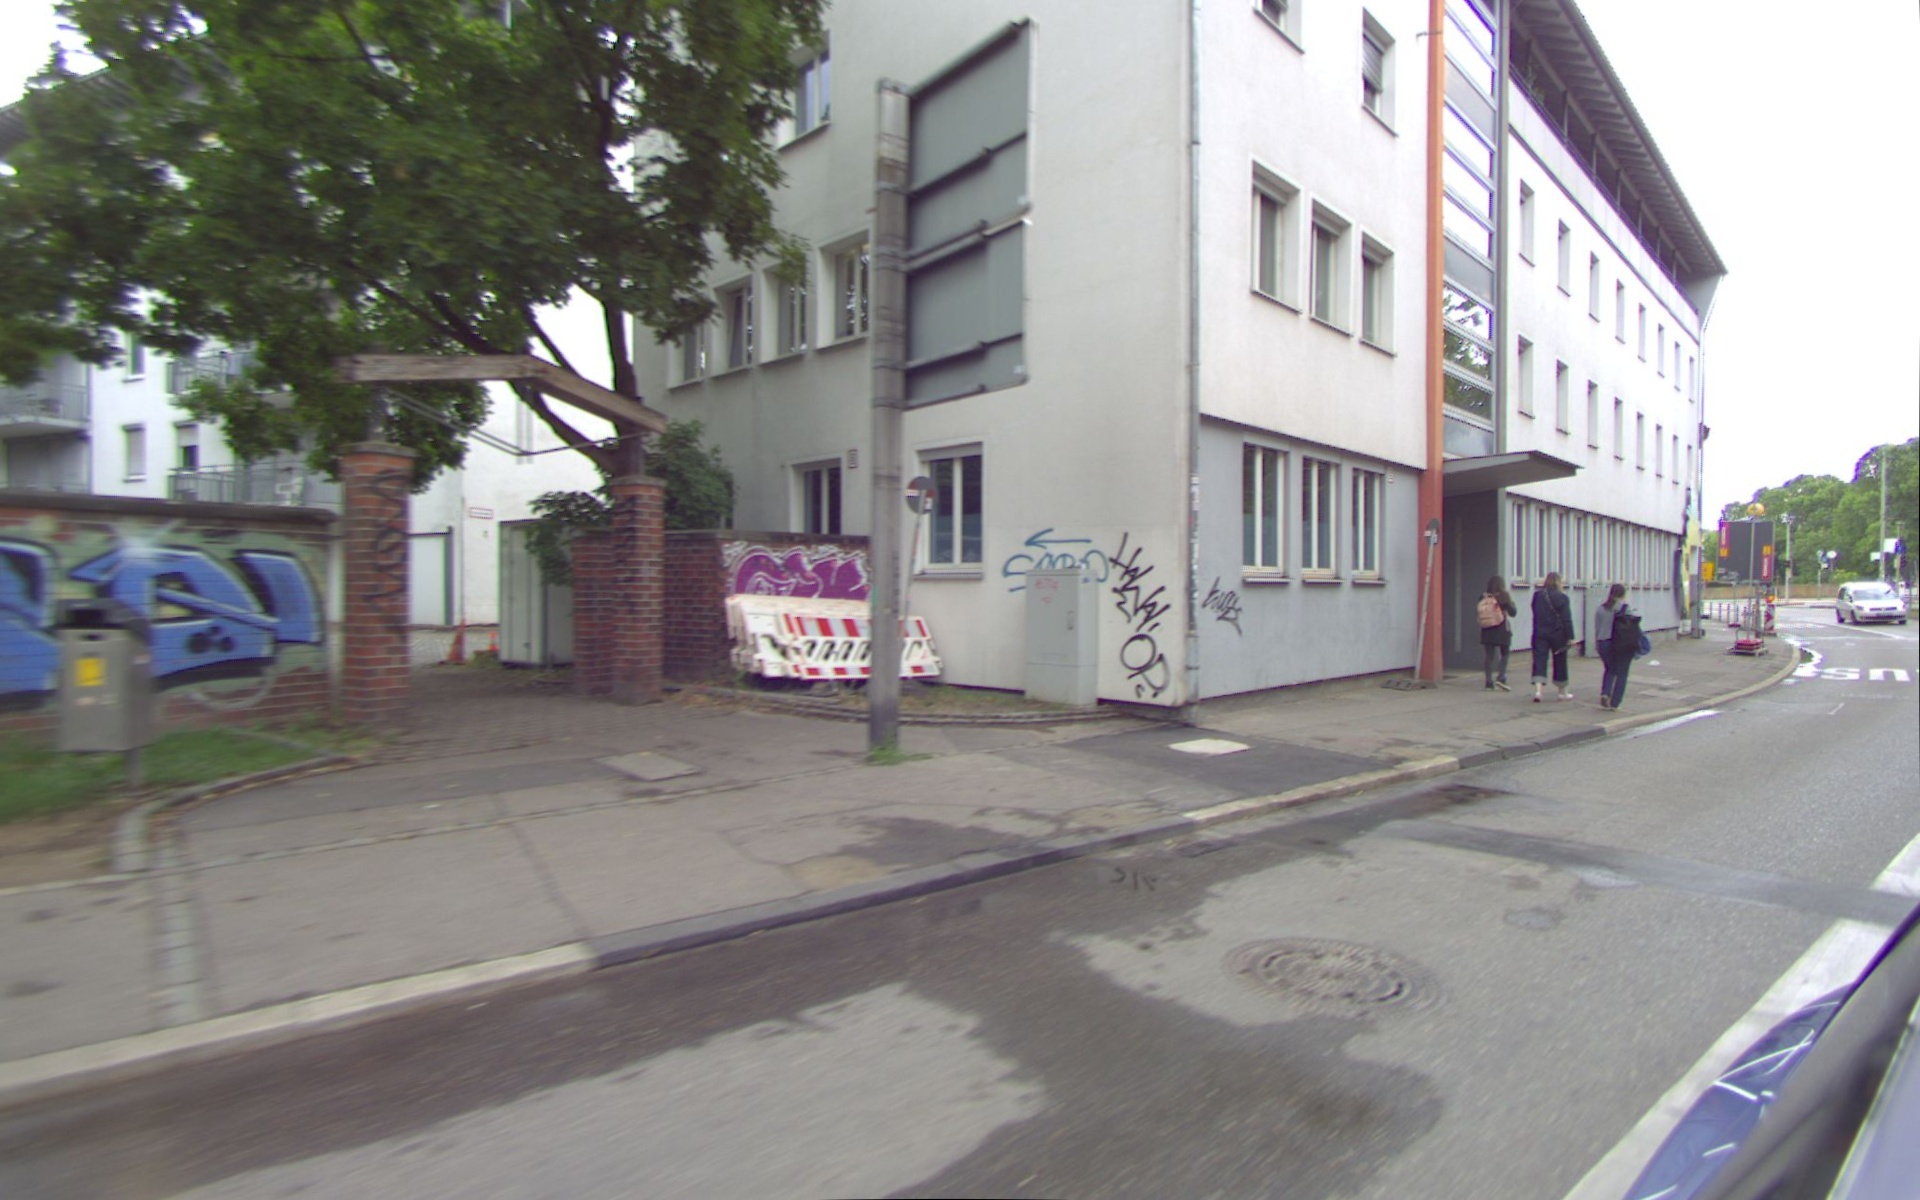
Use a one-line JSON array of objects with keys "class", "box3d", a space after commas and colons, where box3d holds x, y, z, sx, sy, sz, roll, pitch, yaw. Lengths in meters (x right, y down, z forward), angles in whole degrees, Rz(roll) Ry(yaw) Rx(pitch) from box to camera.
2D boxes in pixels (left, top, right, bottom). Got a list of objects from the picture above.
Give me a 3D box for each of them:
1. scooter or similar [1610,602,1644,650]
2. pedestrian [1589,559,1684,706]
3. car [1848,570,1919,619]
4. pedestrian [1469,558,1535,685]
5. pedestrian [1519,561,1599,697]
[{"class": "scooter or similar", "box3d": [16.362, 0.619, 24.829, 0.428, 1.111, 1.416, 2, 2, 43]}, {"class": "pedestrian", "box3d": [8.820, 0.398, 13.193, 0.803, 1.816, 0.927, 3, 1, 44]}, {"class": "car", "box3d": [40.711, -0.259, 44.476, 2.061, 1.807, 4.402, -3, 2, 37]}, {"class": "pedestrian", "box3d": [7.828, 0.298, 14.626, 0.596, 1.779, 0.544, 2, 1, -32]}, {"class": "pedestrian", "box3d": [8.189, 0.376, 13.835, 0.687, 1.779, 0.864, 3, 1, 44]}]
